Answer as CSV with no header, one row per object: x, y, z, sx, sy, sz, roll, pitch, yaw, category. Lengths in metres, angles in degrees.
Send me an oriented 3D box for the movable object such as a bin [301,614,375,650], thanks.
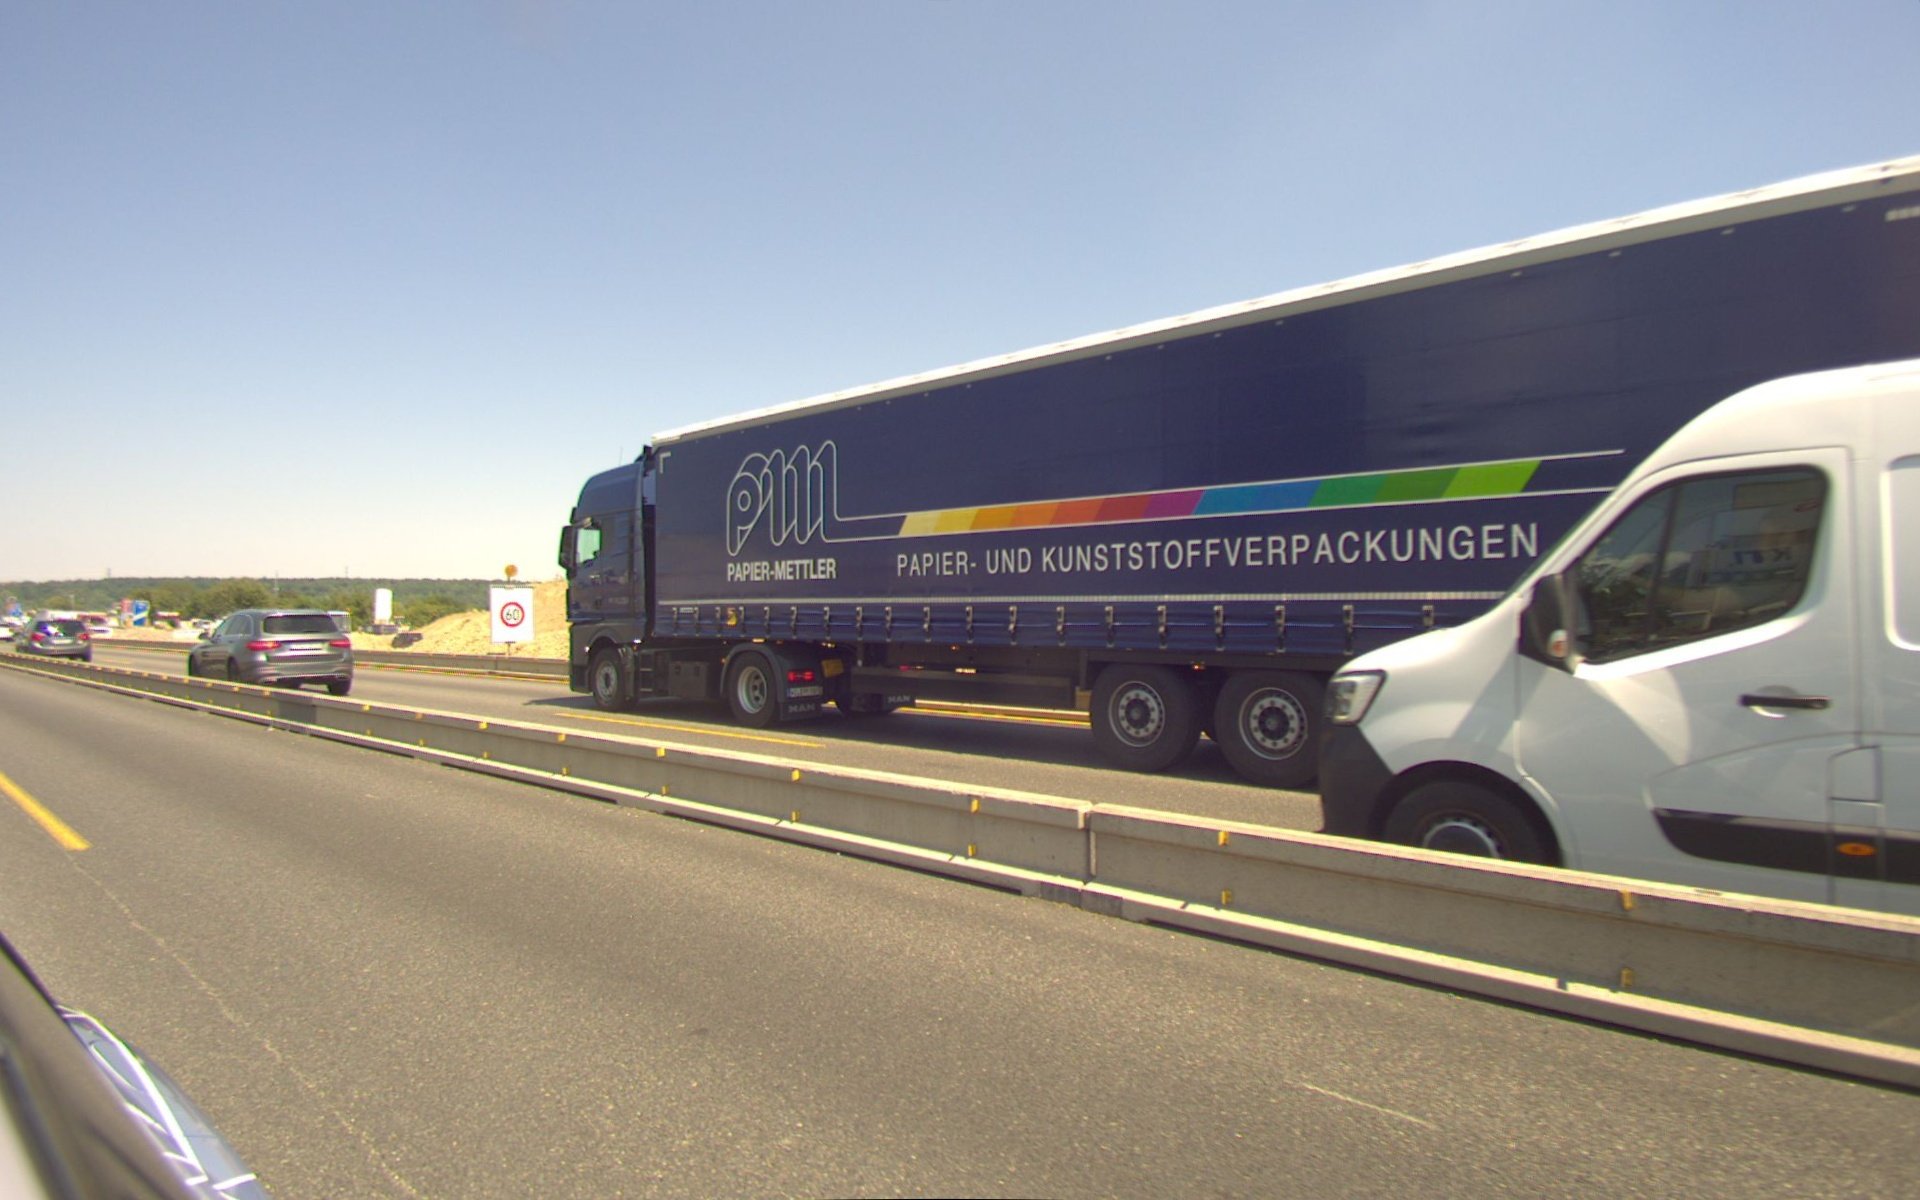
-39.877,1.995,64.822,6.141,2.150,2.291,-1,0,41,movable object such as a bin

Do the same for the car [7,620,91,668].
-32.423,1.540,35.990,4.223,1.577,1.748,-2,-1,41,car

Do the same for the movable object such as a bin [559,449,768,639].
-12.240,-2.125,42.230,4.079,7.167,7.284,-1,0,41,movable object such as a bin

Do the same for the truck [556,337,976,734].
-3.100,-0.744,15.112,6.241,4.687,2.934,-1,0,41,truck

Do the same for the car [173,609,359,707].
-13.551,1.030,19.639,4.883,1.641,1.849,-1,0,41,car

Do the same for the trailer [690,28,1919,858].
2.202,-0.829,10.409,12.878,4.631,2.954,-1,0,41,trailer

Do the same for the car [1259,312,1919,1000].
4.496,0.163,3.755,6.192,2.361,2.014,-2,-1,41,car
